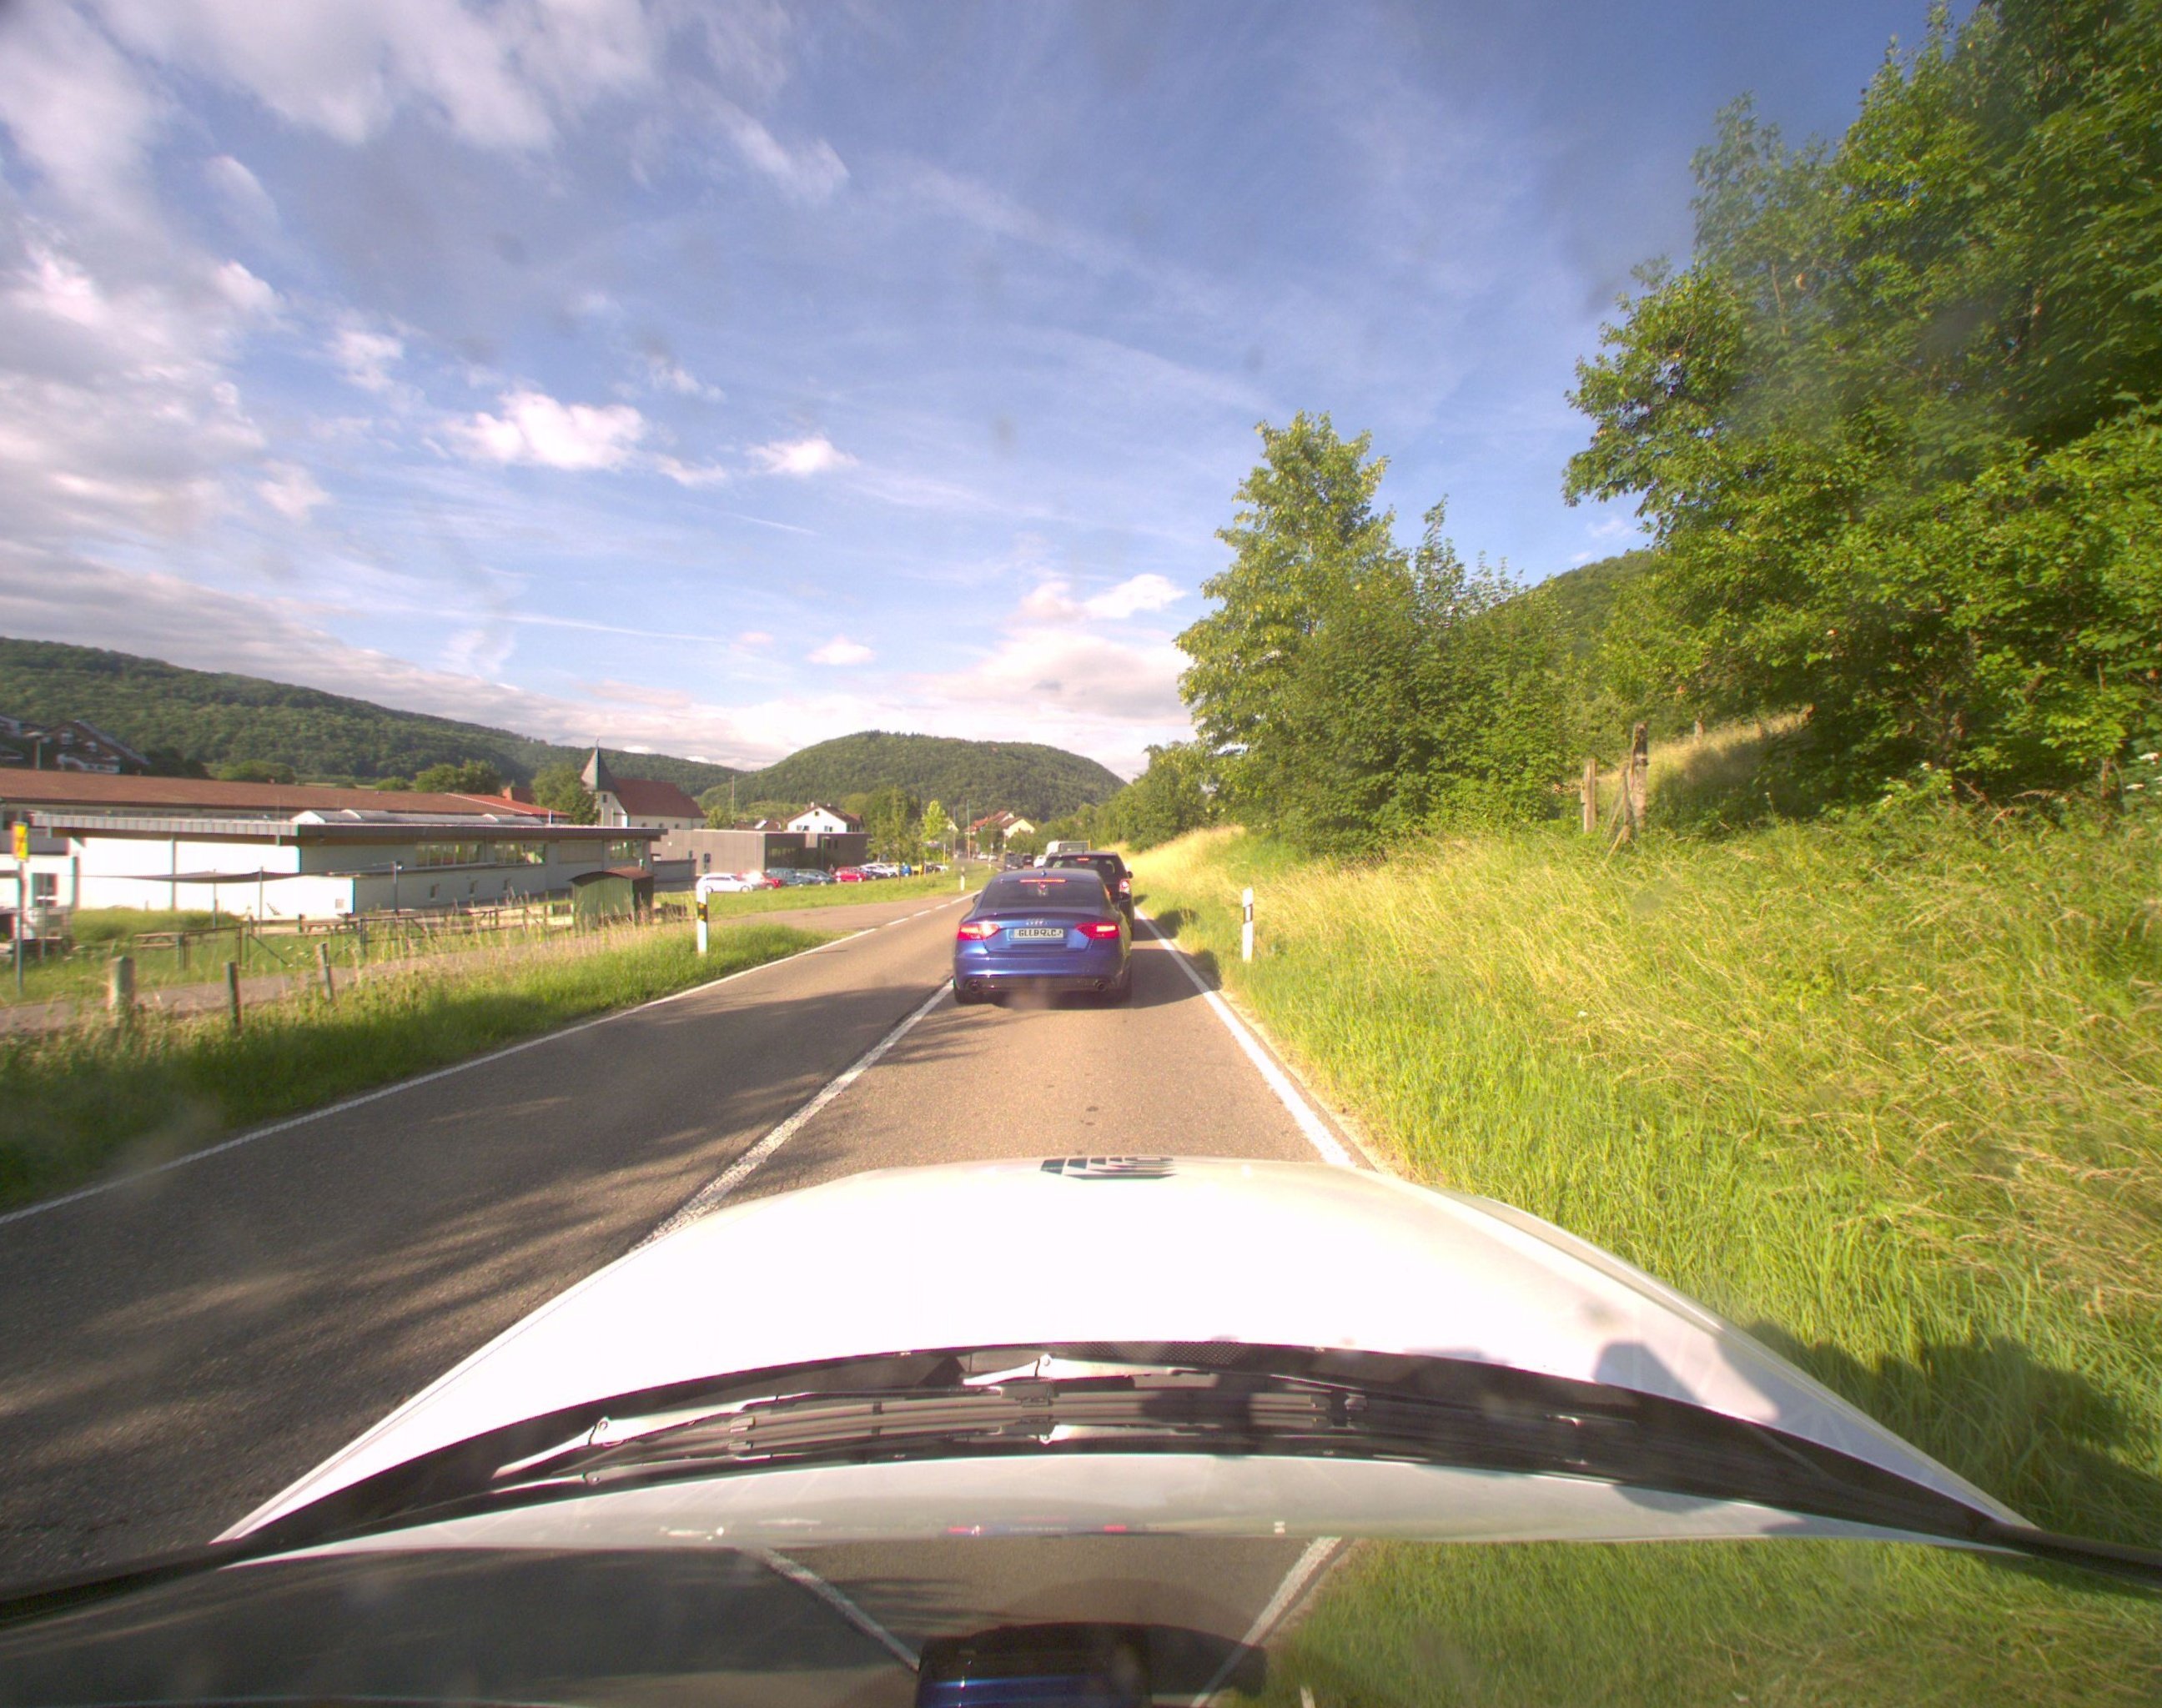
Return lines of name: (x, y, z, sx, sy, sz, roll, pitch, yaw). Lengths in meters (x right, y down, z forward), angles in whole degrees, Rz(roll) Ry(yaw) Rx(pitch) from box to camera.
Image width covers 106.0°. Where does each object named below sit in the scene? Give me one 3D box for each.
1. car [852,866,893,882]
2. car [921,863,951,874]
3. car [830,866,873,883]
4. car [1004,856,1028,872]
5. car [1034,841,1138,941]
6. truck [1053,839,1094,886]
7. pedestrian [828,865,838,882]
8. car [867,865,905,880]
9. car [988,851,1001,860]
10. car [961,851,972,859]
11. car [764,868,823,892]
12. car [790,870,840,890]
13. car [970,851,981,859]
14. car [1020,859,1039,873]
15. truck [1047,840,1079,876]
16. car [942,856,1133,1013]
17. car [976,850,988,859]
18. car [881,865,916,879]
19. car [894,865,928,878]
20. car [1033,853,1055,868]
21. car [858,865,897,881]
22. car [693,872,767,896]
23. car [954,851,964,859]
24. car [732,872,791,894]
car: (-23.078, 2.151, 90.258, 3.975, 1.711, 1.999, 0, -1, -1)
car: (-21.340, 2.158, 119.995, 3.975, 1.579, 1.752, 0, -1, -1)
car: (-24.102, 2.119, 85.700, 3.975, 1.711, 1.999, 0, -1, -1)
car: (-6.018, 0.931, 75.044, 1.706, 1.430, 4.032, 0, -1, -13)
car: (0.171, 0.640, 15.691, 1.747, 1.681, 3.848, 0, -1, 2)
truck: (-0.472, 0.507, 48.421, 2.223, 2.570, 6.100, 0, -1, -1)
pedestrian: (-29.194, 2.264, 95.948, 0.822, 2.014, 0.973, 0, -1, 1)
car: (-23.264, 2.214, 97.206, 3.975, 1.711, 1.999, 0, -1, -1)
car: (-15.762, 0.296, 147.811, 1.848, 1.712, 3.980, 0, -1, -15)
car: (-25.366, 0.136, 180.847, 1.850, 1.712, 3.977, 0, -1, -16)
car: (-24.966, 2.256, 70.866, 4.393, 2.008, 1.999, 0, -1, -1)
car: (-24.443, 2.379, 74.964, 3.975, 1.711, 1.999, 0, -1, -1)
car: (-22.229, 0.200, 171.270, 1.850, 1.712, 3.977, 0, -1, -16)
car: (-6.177, 1.420, 97.473, 1.845, 1.712, 3.986, 0, -1, -10)
truck: (-1.372, 0.300, 61.294, 2.224, 2.570, 6.702, 0, -1, -2)
car: (-0.317, 0.756, 9.394, 1.747, 1.430, 3.848, 0, -1, 2)
car: (-19.366, 0.172, 159.292, 1.850, 1.712, 3.977, 0, -1, -16)
car: (-23.047, 2.264, 102.992, 3.975, 1.711, 1.999, 0, -1, -1)
car: (-22.039, 2.280, 105.706, 3.975, 1.711, 1.999, 0, -1, -1)
car: (-3.849, 0.700, 84.271, 1.845, 1.482, 3.986, 0, -1, -10)
car: (-23.455, 2.187, 93.924, 3.975, 1.711, 1.999, 0, -1, -1)
car: (-26.711, 2.283, 62.103, 4.717, 1.711, 1.999, 0, -1, -1)
car: (-28.994, 0.244, 192.892, 1.850, 1.712, 3.977, 0, -1, -16)
car: (-25.511, 2.300, 65.133, 3.975, 1.711, 1.999, 0, -1, -1)
